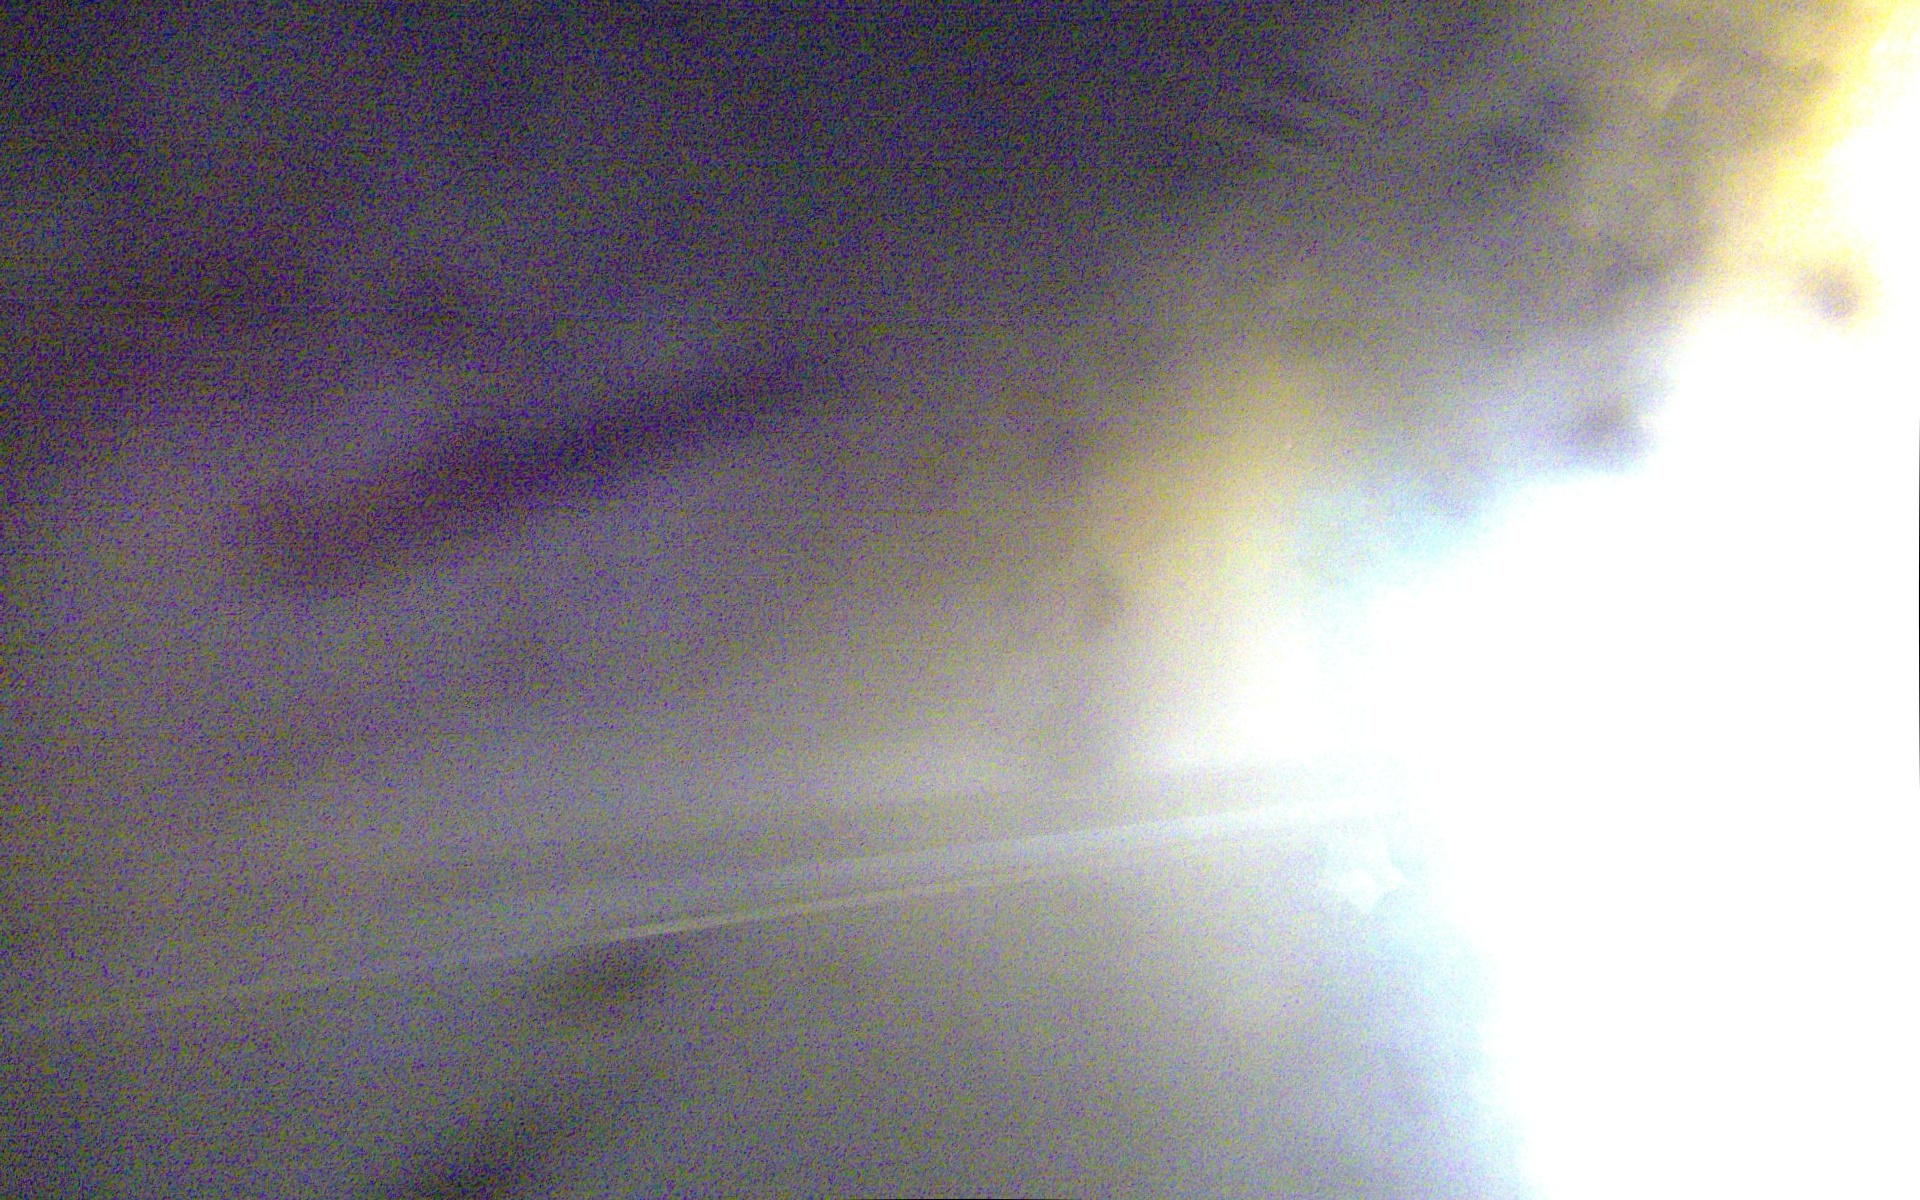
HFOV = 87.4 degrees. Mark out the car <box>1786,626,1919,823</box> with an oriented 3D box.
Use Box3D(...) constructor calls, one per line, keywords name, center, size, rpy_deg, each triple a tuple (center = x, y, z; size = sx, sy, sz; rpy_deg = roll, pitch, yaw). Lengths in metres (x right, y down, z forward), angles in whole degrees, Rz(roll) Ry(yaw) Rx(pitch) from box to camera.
Box3D(name="car", center=(8.658, 0.969, 8.328), size=(3.582, 1.441, 1.682), rpy_deg=(1, -1, -31))
